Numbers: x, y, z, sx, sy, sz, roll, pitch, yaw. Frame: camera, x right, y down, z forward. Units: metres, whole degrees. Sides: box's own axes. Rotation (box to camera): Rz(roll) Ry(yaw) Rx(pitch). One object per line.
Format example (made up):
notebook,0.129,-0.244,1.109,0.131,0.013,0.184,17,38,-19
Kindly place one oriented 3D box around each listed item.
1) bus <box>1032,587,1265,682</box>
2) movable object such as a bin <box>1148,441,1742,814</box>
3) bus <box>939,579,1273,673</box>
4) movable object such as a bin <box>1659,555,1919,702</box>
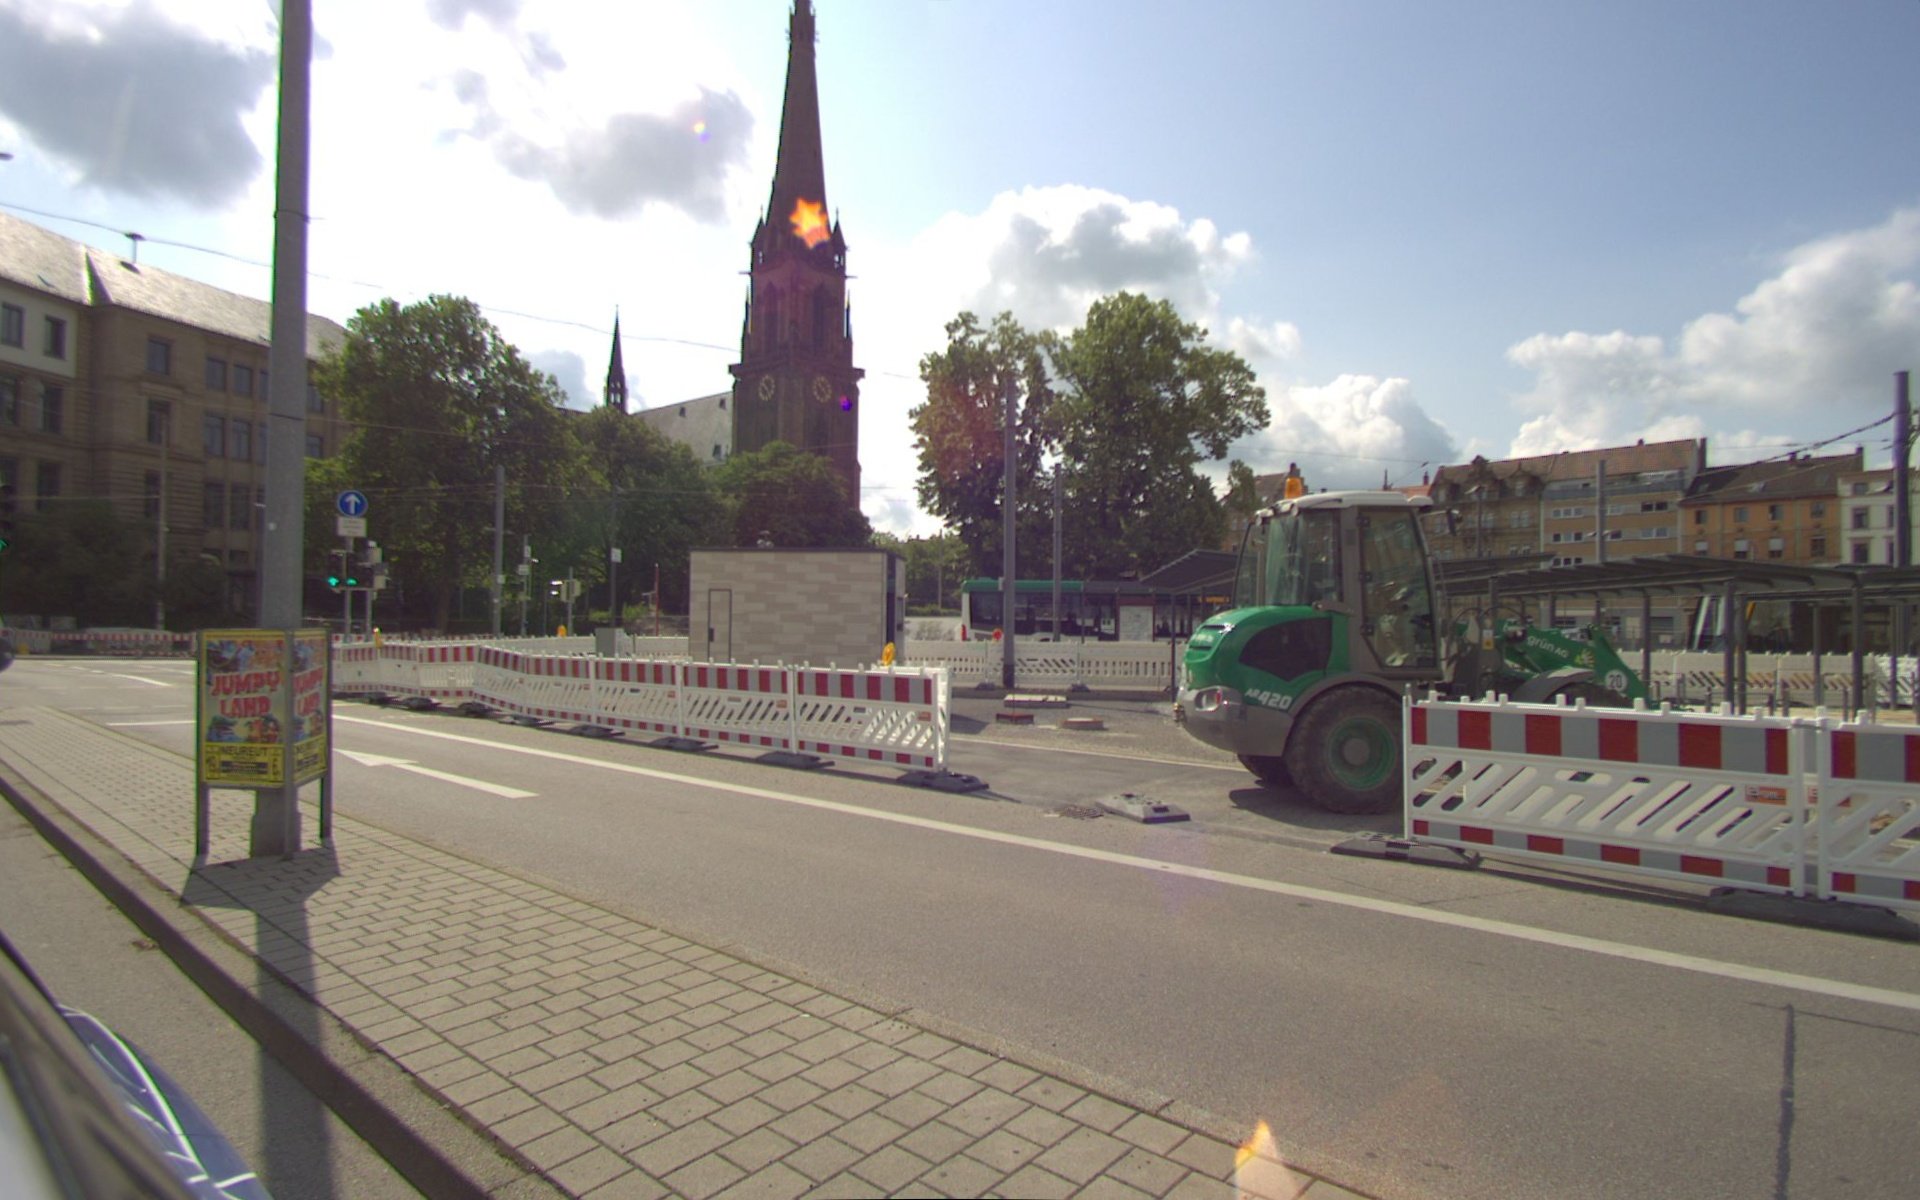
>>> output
bus,6.360,1.170,34.969,7.668,3.081,2.369,0,-2,7
movable object such as a bin,4.122,0.262,9.199,4.386,2.972,2.001,1,-2,-2
bus,5.329,0.956,38.059,11.928,3.287,2.987,0,-2,7
movable object such as a bin,23.463,0.717,25.164,9.574,3.450,3.014,0,-2,8
